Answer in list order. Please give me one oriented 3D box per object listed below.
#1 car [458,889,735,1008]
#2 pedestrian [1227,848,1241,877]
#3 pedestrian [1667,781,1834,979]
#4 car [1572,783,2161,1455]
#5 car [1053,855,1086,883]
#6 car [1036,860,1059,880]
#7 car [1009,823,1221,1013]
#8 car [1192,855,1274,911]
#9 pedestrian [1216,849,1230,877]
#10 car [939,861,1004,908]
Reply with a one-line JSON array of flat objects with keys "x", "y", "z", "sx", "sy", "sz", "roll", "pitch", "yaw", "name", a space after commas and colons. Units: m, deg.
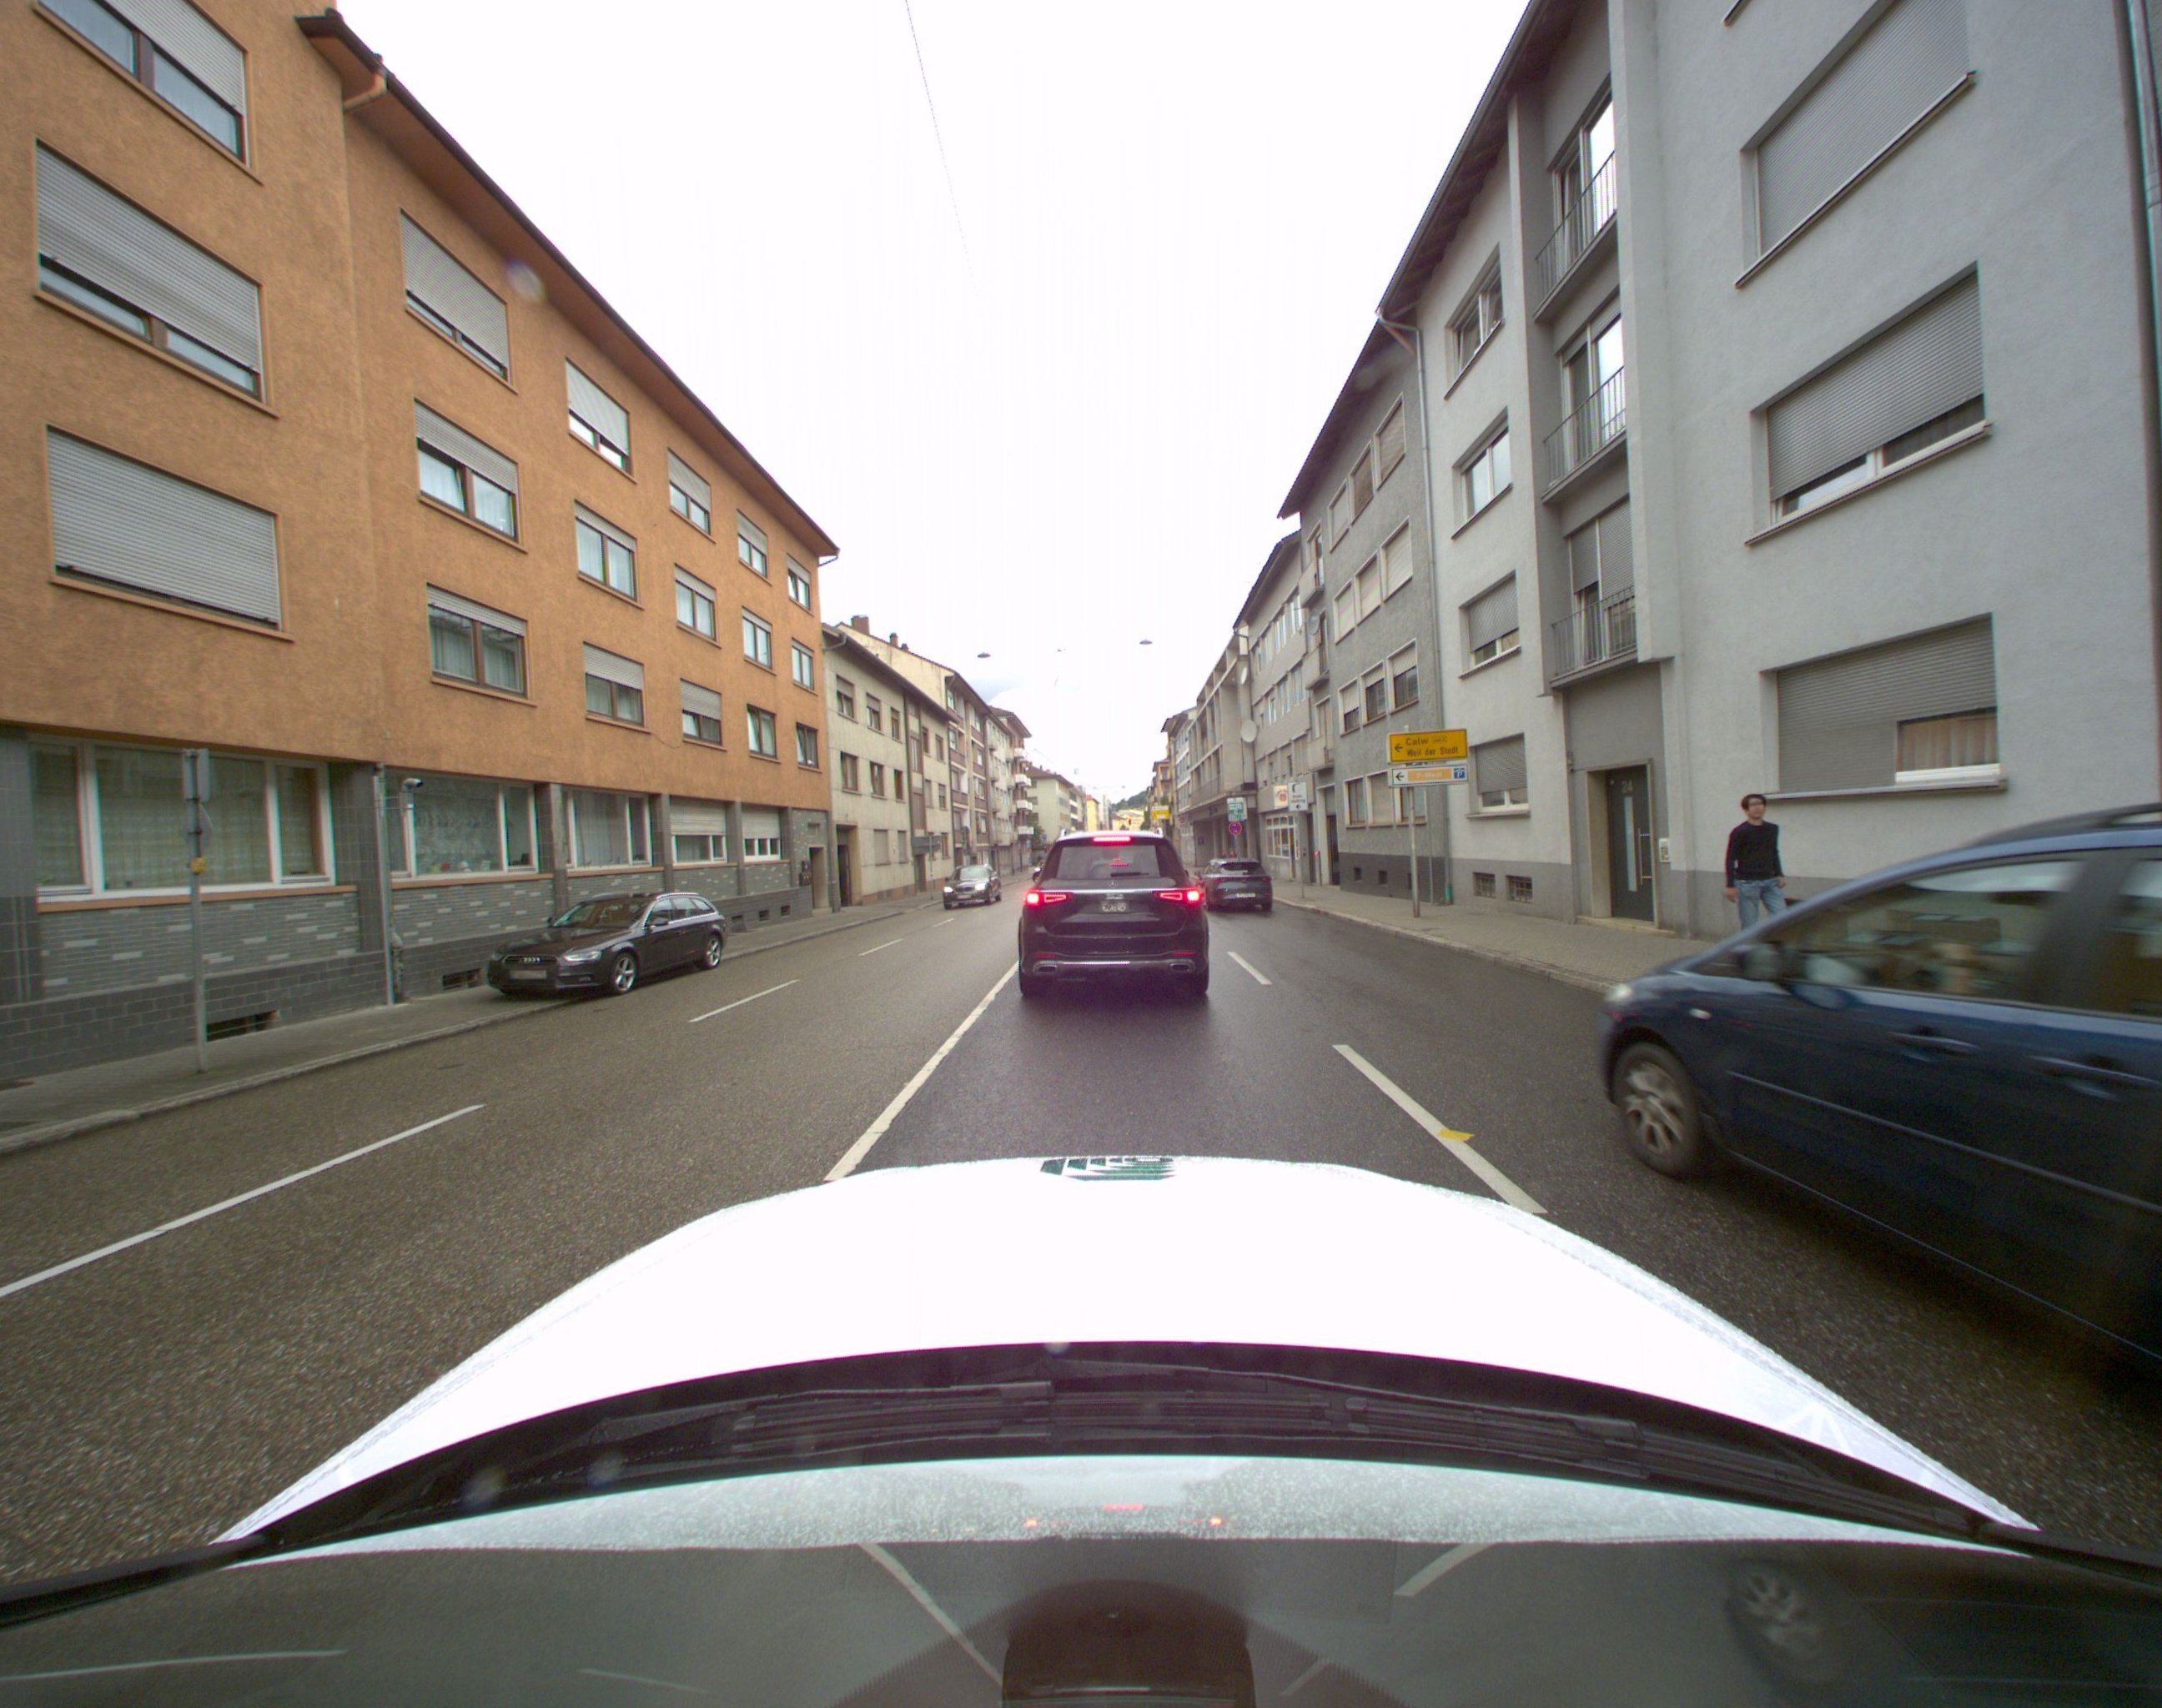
[{"x": -7.647, "y": 1.407, "z": 13.506, "sx": 1.789, "sy": 1.438, "sz": 4.528, "roll": 0, "pitch": 0, "yaw": 1, "name": "car"}, {"x": 8.586, "y": 0.486, "z": 45.651, "sx": 0.558, "sy": 1.578, "sz": 0.526, "roll": -5, "pitch": 0, "yaw": 1, "name": "pedestrian"}, {"x": 6.574, "y": 0.243, "z": 8.064, "sx": 0.641, "sy": 1.778, "sz": 1.057, "roll": -5, "pitch": 0, "yaw": 1, "name": "pedestrian"}, {"x": 3.504, "y": 0.619, "z": 2.383, "sx": 1.800, "sy": 1.606, "sz": 4.216, "roll": -1, "pitch": 0, "yaw": 4, "name": "car"}, {"x": -0.744, "y": 1.028, "z": 57.203, "sx": 1.828, "sy": 1.727, "sz": 4.479, "roll": -5, "pitch": 0, "yaw": 4, "name": "car"}, {"x": -2.951, "y": 1.387, "z": 71.970, "sx": 1.792, "sy": 1.584, "sz": 4.314, "roll": -5, "pitch": 0, "yaw": -1, "name": "car"}, {"x": 0.373, "y": 0.611, "z": 9.753, "sx": 2.018, "sy": 1.806, "sz": 4.001, "roll": 0, "pitch": 0, "yaw": 1, "name": "car"}, {"x": 4.211, "y": 0.758, "z": 23.116, "sx": 1.615, "sy": 1.430, "sz": 4.313, "roll": 0, "pitch": 0, "yaw": 1, "name": "car"}, {"x": 7.948, "y": 0.514, "z": 45.636, "sx": 0.505, "sy": 1.500, "sz": 0.562, "roll": -5, "pitch": 0, "yaw": -2, "name": "pedestrian"}, {"x": -4.118, "y": 1.116, "z": 31.196, "sx": 1.697, "sy": 1.507, "sz": 4.160, "roll": -5, "pitch": 0, "yaw": 1, "name": "car"}]
